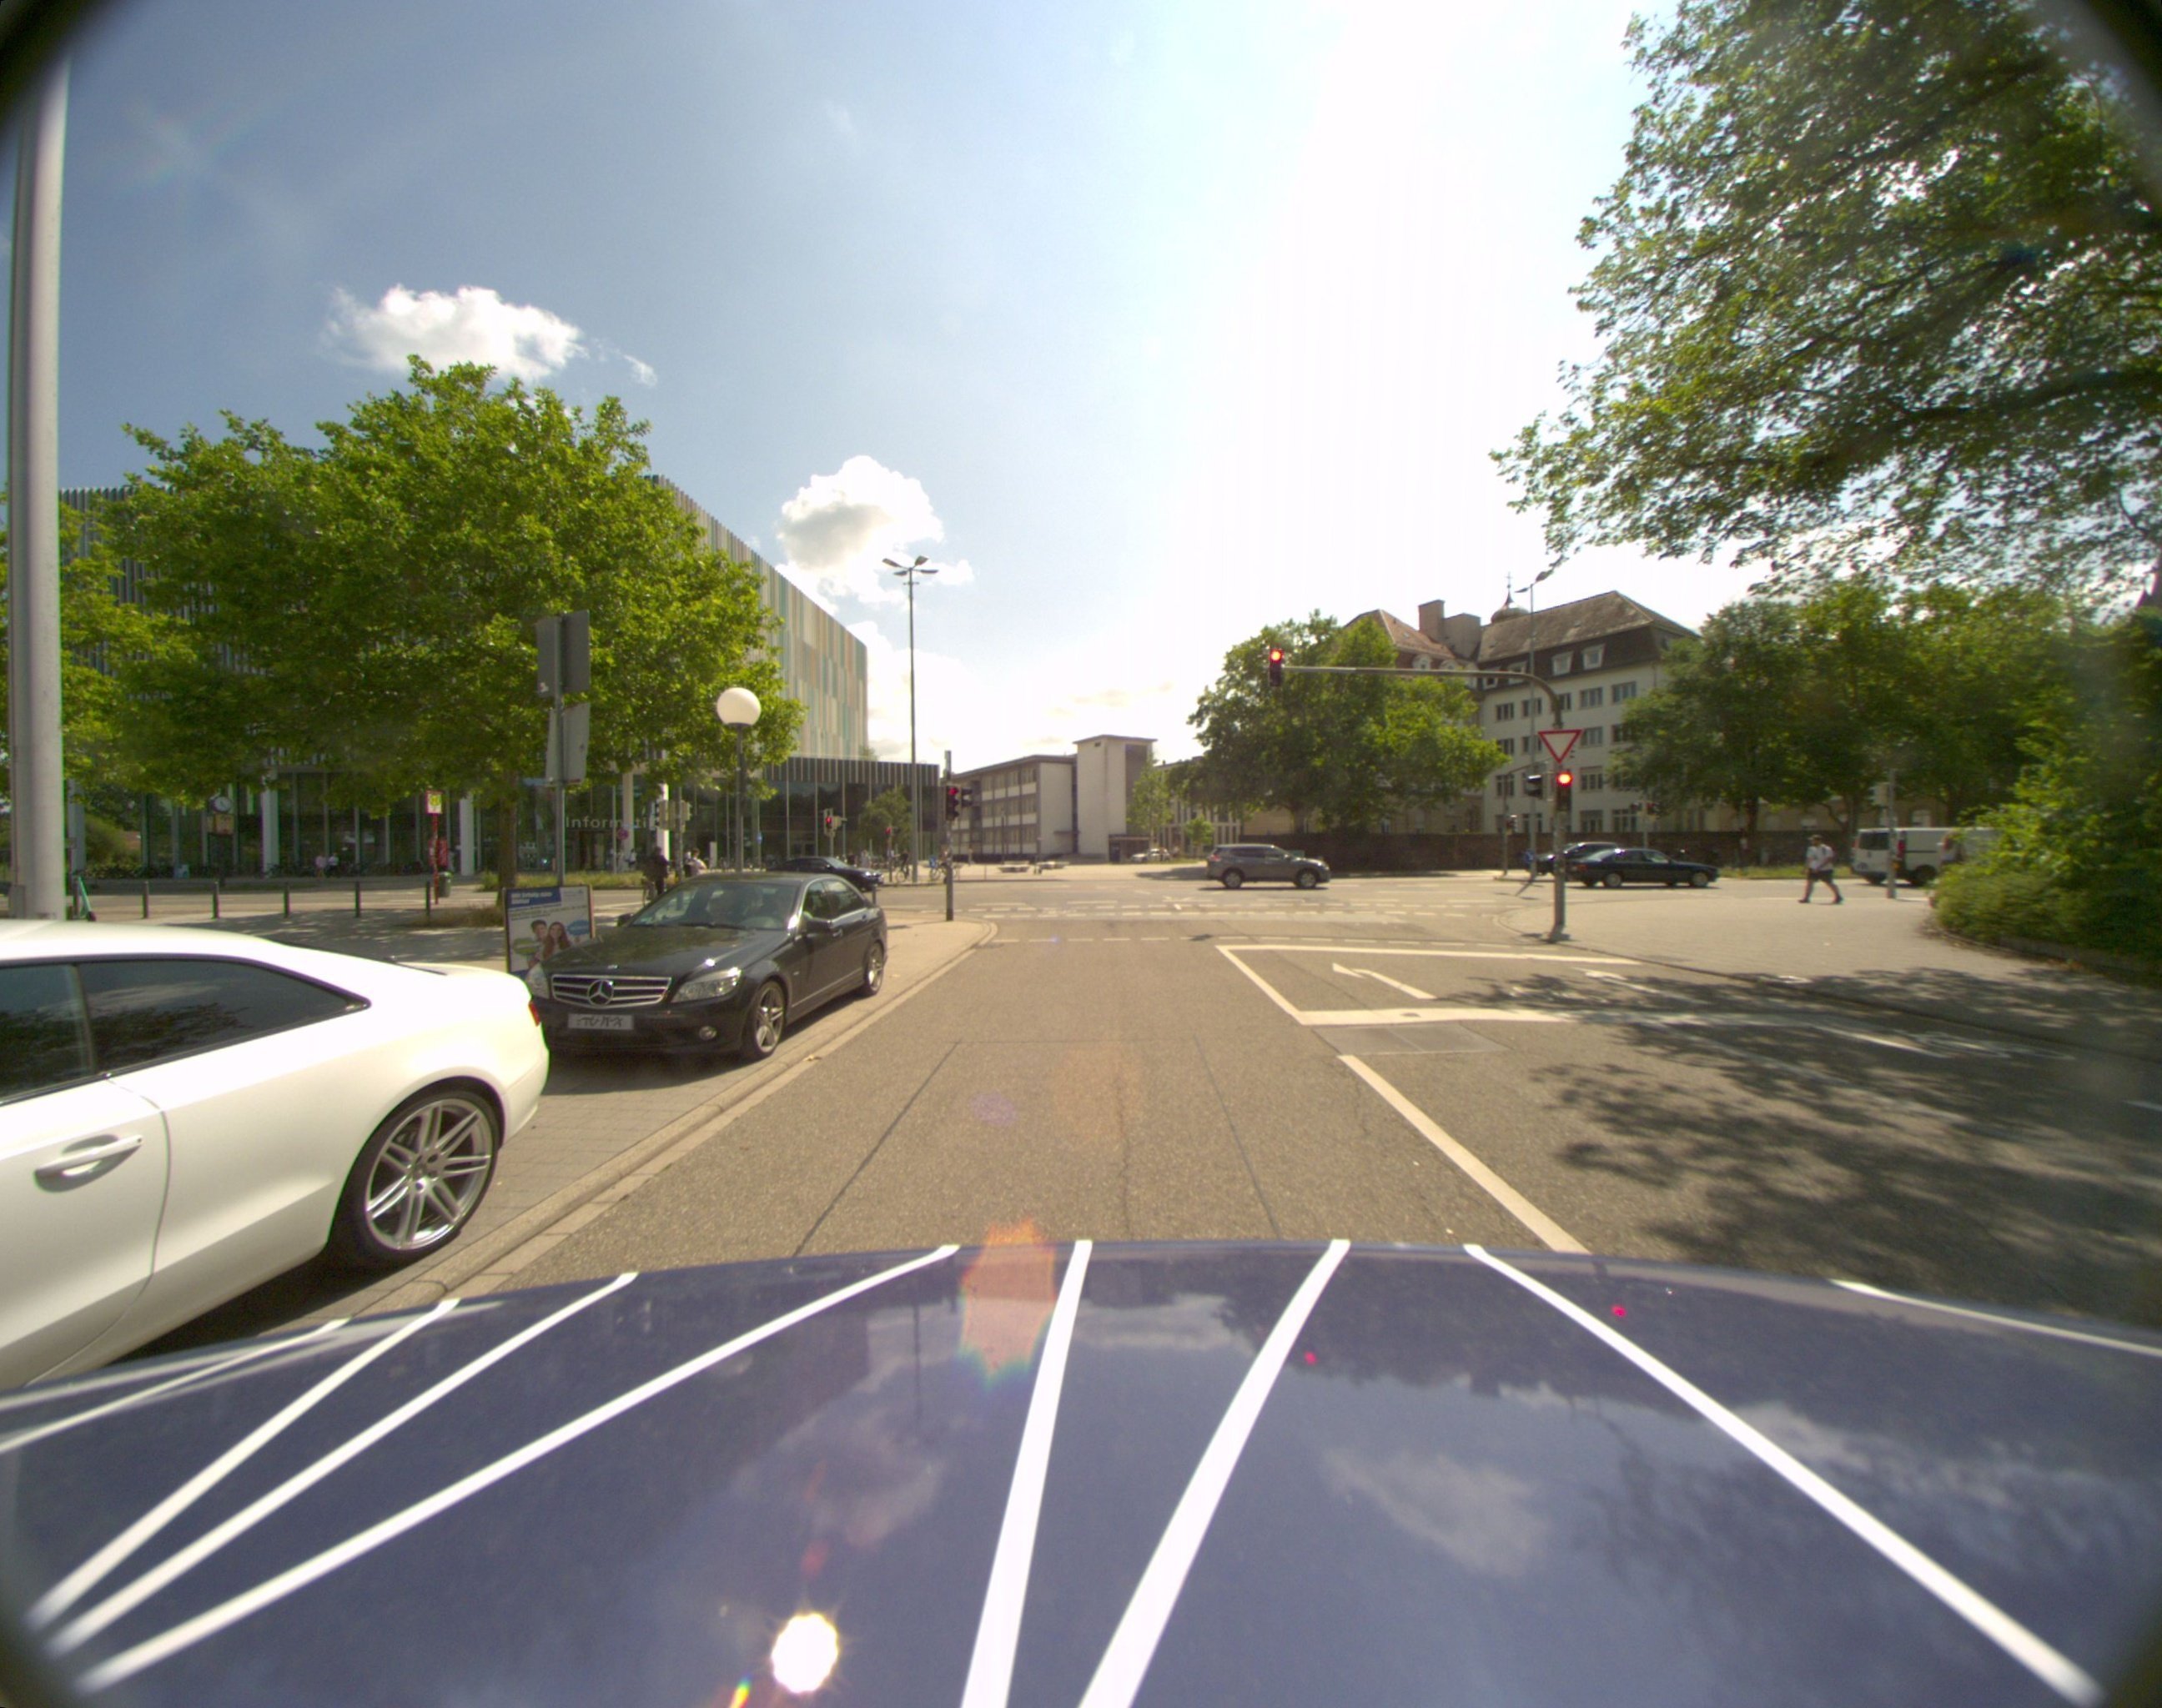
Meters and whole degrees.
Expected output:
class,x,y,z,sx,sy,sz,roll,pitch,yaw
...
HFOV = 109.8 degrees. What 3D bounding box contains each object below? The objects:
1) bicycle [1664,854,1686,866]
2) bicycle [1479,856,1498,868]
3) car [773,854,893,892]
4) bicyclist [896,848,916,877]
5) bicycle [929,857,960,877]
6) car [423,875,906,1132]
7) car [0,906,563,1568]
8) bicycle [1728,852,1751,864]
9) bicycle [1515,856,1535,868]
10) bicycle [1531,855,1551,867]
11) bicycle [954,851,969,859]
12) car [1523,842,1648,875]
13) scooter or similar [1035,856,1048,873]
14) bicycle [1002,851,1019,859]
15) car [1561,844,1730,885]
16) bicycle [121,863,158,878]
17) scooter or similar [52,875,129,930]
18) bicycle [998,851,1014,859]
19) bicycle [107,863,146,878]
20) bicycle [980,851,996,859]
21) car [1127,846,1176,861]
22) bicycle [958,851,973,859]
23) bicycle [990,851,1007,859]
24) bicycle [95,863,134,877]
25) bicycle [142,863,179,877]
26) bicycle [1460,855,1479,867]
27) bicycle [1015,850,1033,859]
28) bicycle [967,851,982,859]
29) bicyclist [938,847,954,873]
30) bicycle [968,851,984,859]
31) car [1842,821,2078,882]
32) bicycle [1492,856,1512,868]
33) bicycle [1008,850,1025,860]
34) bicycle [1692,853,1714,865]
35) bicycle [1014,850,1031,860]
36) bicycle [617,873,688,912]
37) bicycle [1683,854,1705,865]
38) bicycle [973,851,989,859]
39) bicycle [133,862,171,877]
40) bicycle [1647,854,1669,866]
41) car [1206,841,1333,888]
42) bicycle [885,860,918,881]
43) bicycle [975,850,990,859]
class,x,y,z,sx,sy,sz,roll,pitch,yaw
bicycle,37.262,0.366,47.692,0.409,0.678,1.004,-3,3,-36
bicycle,25.259,0.500,47.079,0.409,0.678,1.005,-2,3,-23
car,-9.957,0.755,30.703,4.185,1.408,1.831,-1,2,7
bicyclist,-9.985,0.464,43.348,1.001,1.606,0.656,-2,2,-26
bicycle,-7.989,0.767,44.588,1.673,1.118,0.694,-1,1,-22
car,-3.207,1.007,7.255,1.722,1.392,4.949,1,1,2
car,-3.457,1.001,1.474,1.722,1.392,4.439,2,1,2
bicycle,41.846,0.257,48.266,0.409,0.678,1.004,-3,3,-36
bicycle,27.533,0.476,47.160,0.409,0.678,1.005,-2,3,-23
bicycle,28.714,0.455,47.424,0.409,0.678,1.005,-2,3,-23
bicycle,-14.869,0.135,94.938,1.776,0.950,0.528,-1,3,-26
car,24.309,0.206,36.742,4.711,1.520,2.000,-1,1,2
scooter or similar,-2.517,0.639,48.033,0.403,1.060,1.149,-1,1,-25
bicycle,-7.760,0.110,84.038,1.776,0.950,0.528,-1,3,-26
car,20.077,0.360,27.209,4.607,1.378,1.698,0,1,9
bicycle,-68.898,1.182,55.616,0.433,0.950,1.785,-1,2,2
scooter or similar,-21.446,1.044,16.458,1.191,1.159,0.353,0,3,3
bicycle,-8.375,0.116,84.950,1.776,0.950,0.528,-1,3,-26
bicycle,-69.840,1.218,55.614,0.433,0.950,1.785,-1,2,2
bicycle,-10.792,0.136,87.906,1.776,0.950,0.528,-1,3,-26
car,7.008,-0.082,75.568,4.500,1.299,1.995,-2,3,-29
bicycle,-14.297,0.130,93.905,1.776,0.950,0.528,-1,3,-26
bicycle,-9.333,0.117,85.777,1.776,0.950,0.528,-1,3,-26
bicycle,-70.832,1.169,55.695,0.433,0.950,1.785,-1,2,2
bicycle,-67.366,1.155,55.603,0.433,0.950,1.785,-1,2,2
bicycle,24.049,0.408,47.010,0.409,0.678,1.005,-2,3,-23
bicycle,-6.066,0.083,80.862,1.776,0.950,0.528,-1,3,-26
bicycle,-12.889,0.110,91.749,1.776,0.950,0.528,-1,3,-26
bicyclist,-7.906,0.357,44.611,0.787,1.530,0.656,-1,1,-22
bicycle,-12.589,0.093,91.164,1.776,0.950,0.528,-1,3,-26
car,29.779,-0.098,25.941,5.186,1.944,2.013,-1,2,8
bicycle,26.139,0.487,47.201,0.409,0.678,1.005,-2,3,-23
bicycle,-7.045,0.108,82.924,1.776,0.950,0.528,-1,3,-26
bicycle,39.314,0.319,48.027,0.409,0.678,1.004,-3,3,-36
bicycle,-6.332,0.098,81.830,1.776,0.950,0.528,-1,3,-26
bicycle,-12.323,1.099,21.932,0.817,1.066,1.892,0,-2,5
bicycle,38.556,0.351,47.787,0.409,0.678,1.004,-3,3,-36
bicycle,-11.865,0.119,89.818,1.776,0.950,0.528,-1,3,-26
bicycle,-67.965,1.117,55.609,0.433,0.950,1.785,-1,2,2
bicycle,36.255,0.374,47.717,0.409,0.678,1.004,-3,3,-36
car,7.012,0.362,28.713,4.472,1.669,1.826,-1,2,7
bicycle,-10.204,0.935,43.256,1.673,1.118,0.694,-1,1,-26
bicycle,-11.531,0.034,88.984,1.776,0.950,0.528,-1,3,-26
